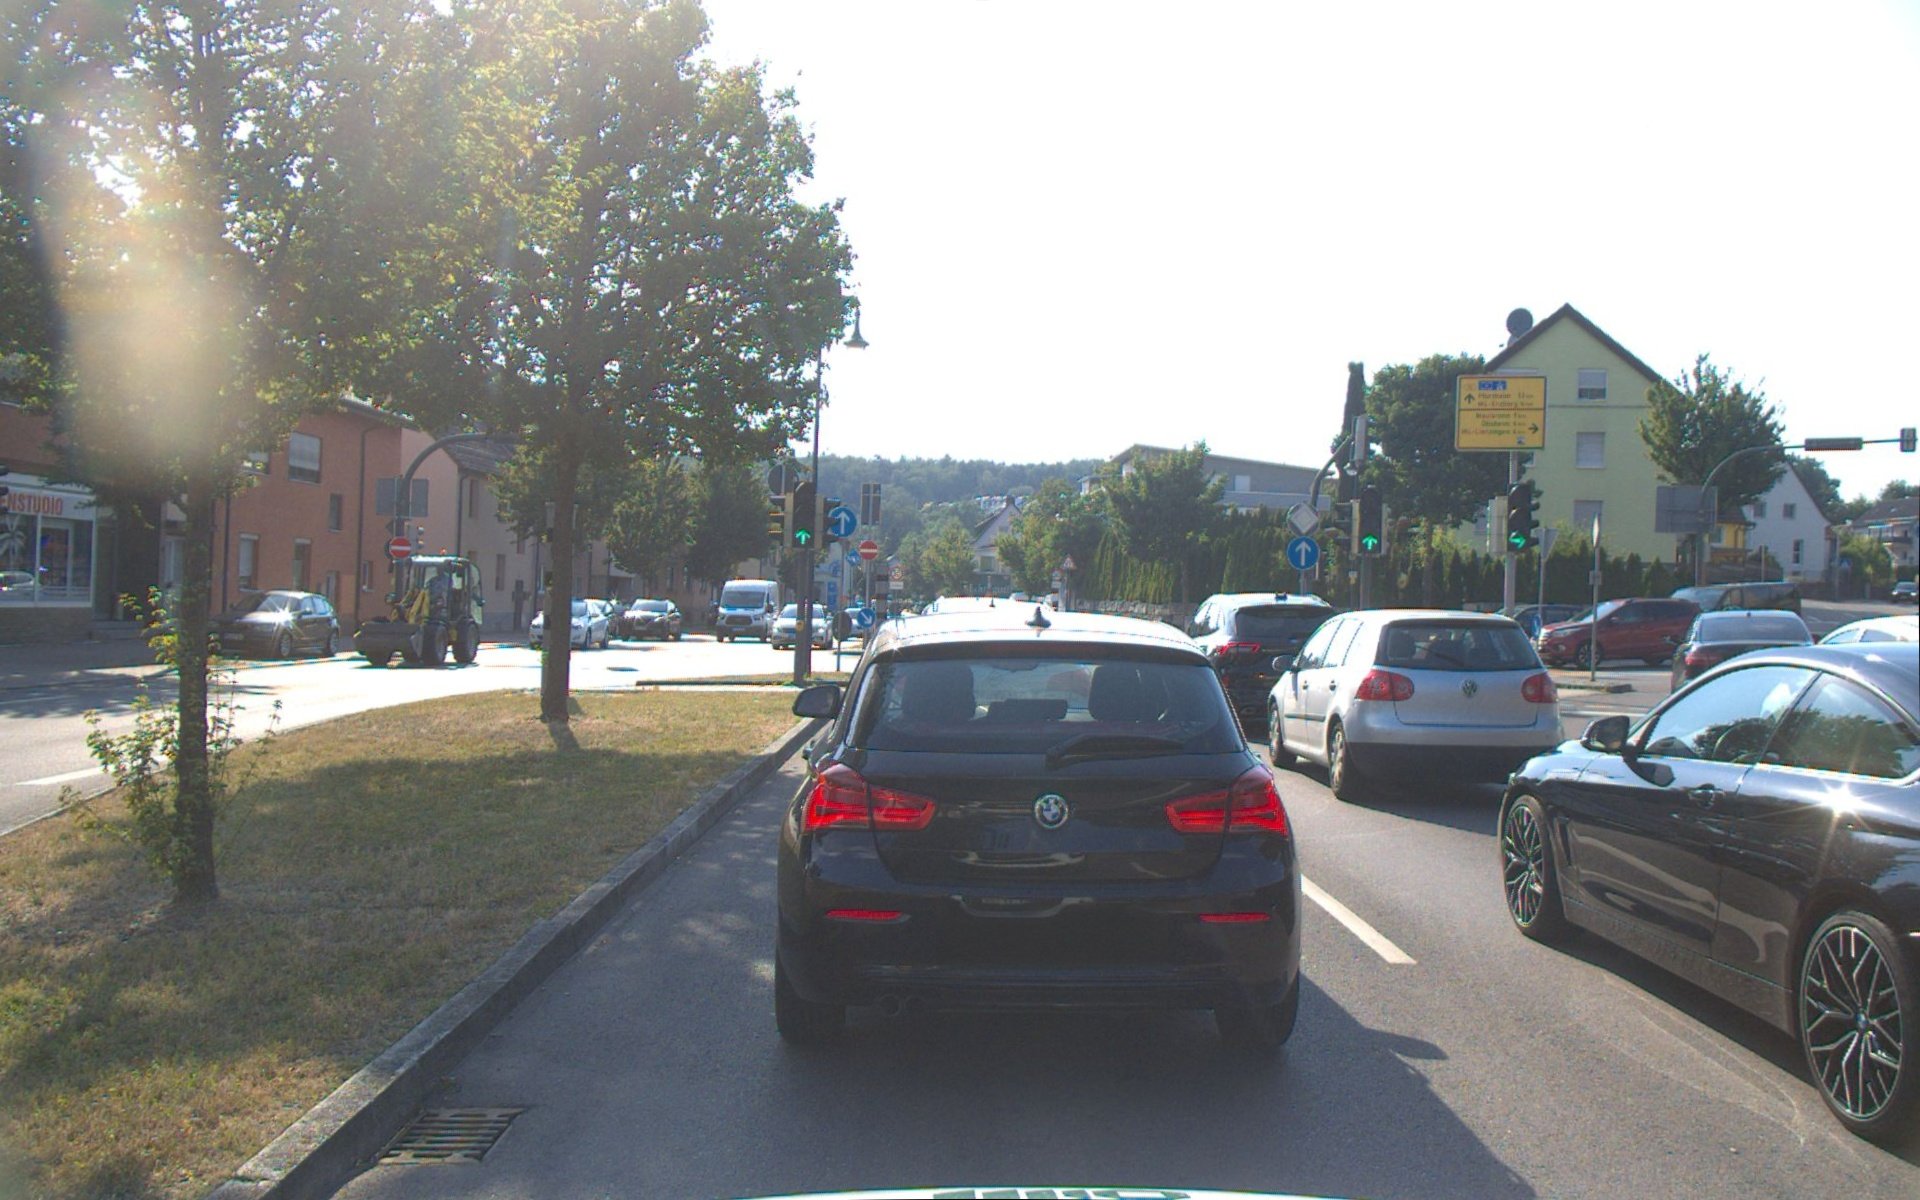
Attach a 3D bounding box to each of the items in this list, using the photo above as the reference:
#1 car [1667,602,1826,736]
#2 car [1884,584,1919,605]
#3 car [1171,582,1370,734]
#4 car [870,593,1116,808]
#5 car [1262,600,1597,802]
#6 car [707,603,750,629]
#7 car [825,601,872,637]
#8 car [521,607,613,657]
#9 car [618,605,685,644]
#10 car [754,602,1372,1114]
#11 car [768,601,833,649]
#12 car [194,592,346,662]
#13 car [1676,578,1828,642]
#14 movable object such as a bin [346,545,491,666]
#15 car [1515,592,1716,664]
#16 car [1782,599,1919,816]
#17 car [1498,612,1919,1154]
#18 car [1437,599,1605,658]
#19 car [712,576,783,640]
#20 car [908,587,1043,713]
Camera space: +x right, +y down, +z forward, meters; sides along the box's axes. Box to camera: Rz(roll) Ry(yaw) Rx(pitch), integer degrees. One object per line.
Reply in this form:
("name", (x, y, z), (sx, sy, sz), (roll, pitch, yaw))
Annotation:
("car", (10.408, 0.828, 22.133), (1.622, 1.569, 4.398), (-1, 0, 22))
("car", (75.199, -0.427, 131.894), (1.934, 1.709, 4.195), (0, 0, 38))
("car", (3.740, 0.646, 20.562), (1.725, 1.685, 3.902), (-1, 0, 0))
("car", (0.232, 0.714, 14.001), (1.751, 1.520, 4.280), (-1, 0, 0))
("car", (3.788, 0.738, 14.047), (1.725, 1.451, 3.902), (-1, 0, 0))
("car", (-13.544, 0.948, 96.949), (1.701, 1.323, 3.800), (5, 0, 2))
("car", (-4.878, 0.831, 73.002), (1.801, 1.508, 4.000), (1, 0, 0))
("car", (-12.115, 0.955, 51.217), (1.701, 1.323, 3.800), (5, 0, 2))
("car", (-12.213, 0.960, 65.621), (1.701, 1.323, 3.800), (5, 0, 2))
("car", (0.291, 0.735, 6.856), (1.751, 1.422, 4.280), (-1, 0, 0))
("car", (-5.312, 0.802, 55.425), (1.801, 1.508, 4.000), (1, 0, 0))
("car", (-15.476, 0.575, 37.310), (1.702, 1.323, 3.999), (5, 0, -1))
("car", (22.894, 0.288, 47.775), (4.726, 1.770, 1.827), (1, 0, -34))
("movable object such as a bin", (-11.766, 0.118, 36.248), (1.701, 2.485, 4.449), (0, 0, 0))
("car", (16.320, 0.687, 41.273), (4.333, 1.670, 1.845), (1, 0, -8))
("car", (7.906, 0.784, 12.957), (1.583, 1.569, 3.320), (-1, 0, 7))
("car", (3.466, 0.784, 5.836), (1.725, 1.422, 4.280), (-1, 0, 0))
("car", (15.164, 0.760, 44.852), (3.907, 1.515, 1.847), (1, 0, -3))
("car", (-8.553, 0.327, 67.006), (2.041, 2.435, 5.528), (1, 0, 1))
("car", (0.198, 0.640, 23.657), (1.751, 1.622, 4.280), (-1, 0, 0))
